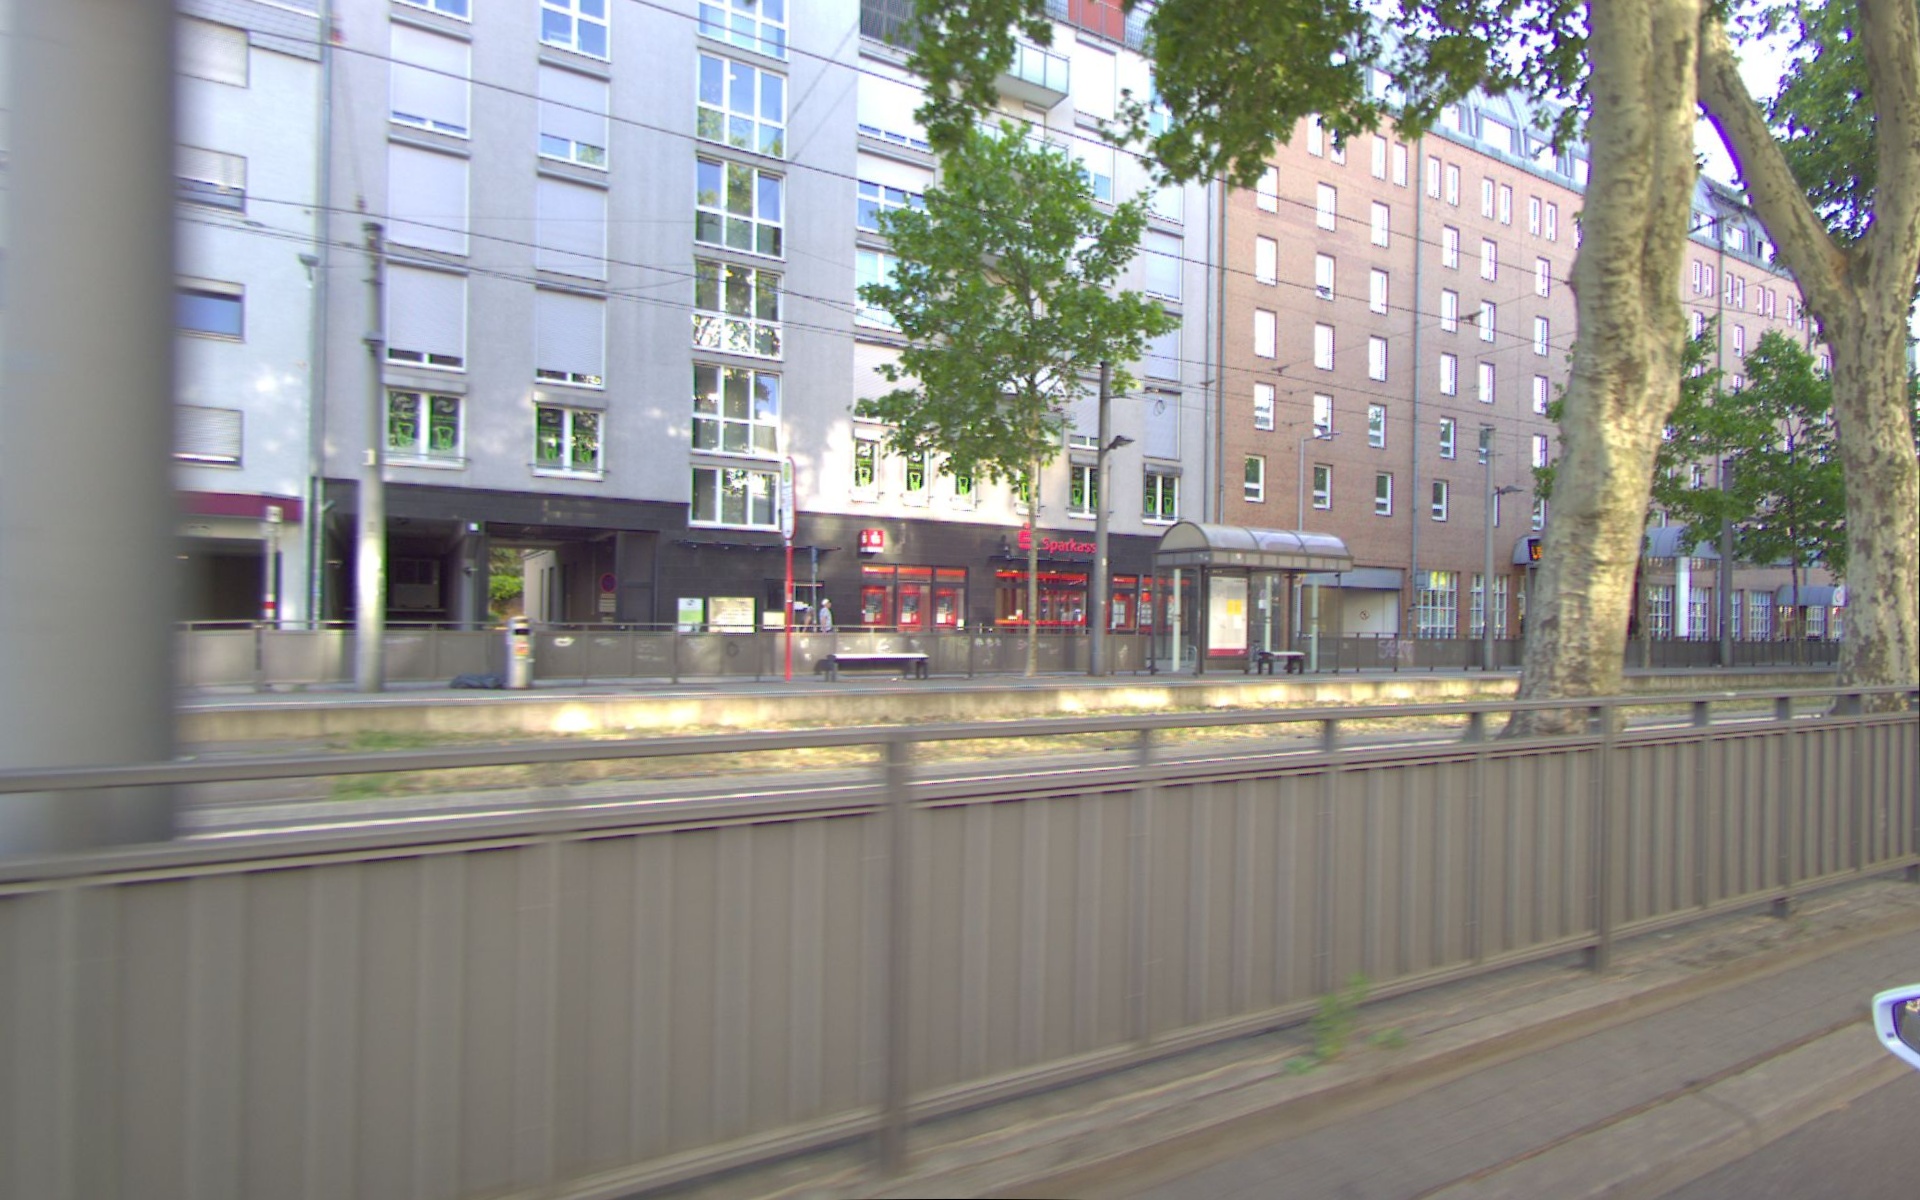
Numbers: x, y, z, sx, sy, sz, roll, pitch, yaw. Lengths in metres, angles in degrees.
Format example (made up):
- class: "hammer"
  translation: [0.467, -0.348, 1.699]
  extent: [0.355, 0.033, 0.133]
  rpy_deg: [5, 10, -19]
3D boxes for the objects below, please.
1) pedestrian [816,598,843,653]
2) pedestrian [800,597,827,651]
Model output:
- class: "pedestrian"
  translation: [-3.632, 0.707, 27.996]
  extent: [0.581, 1.514, 0.531]
  rpy_deg: [1, -1, -32]
- class: "pedestrian"
  translation: [-4.160, 0.690, 28.537]
  extent: [0.581, 1.514, 0.531]
  rpy_deg: [1, -1, -32]
